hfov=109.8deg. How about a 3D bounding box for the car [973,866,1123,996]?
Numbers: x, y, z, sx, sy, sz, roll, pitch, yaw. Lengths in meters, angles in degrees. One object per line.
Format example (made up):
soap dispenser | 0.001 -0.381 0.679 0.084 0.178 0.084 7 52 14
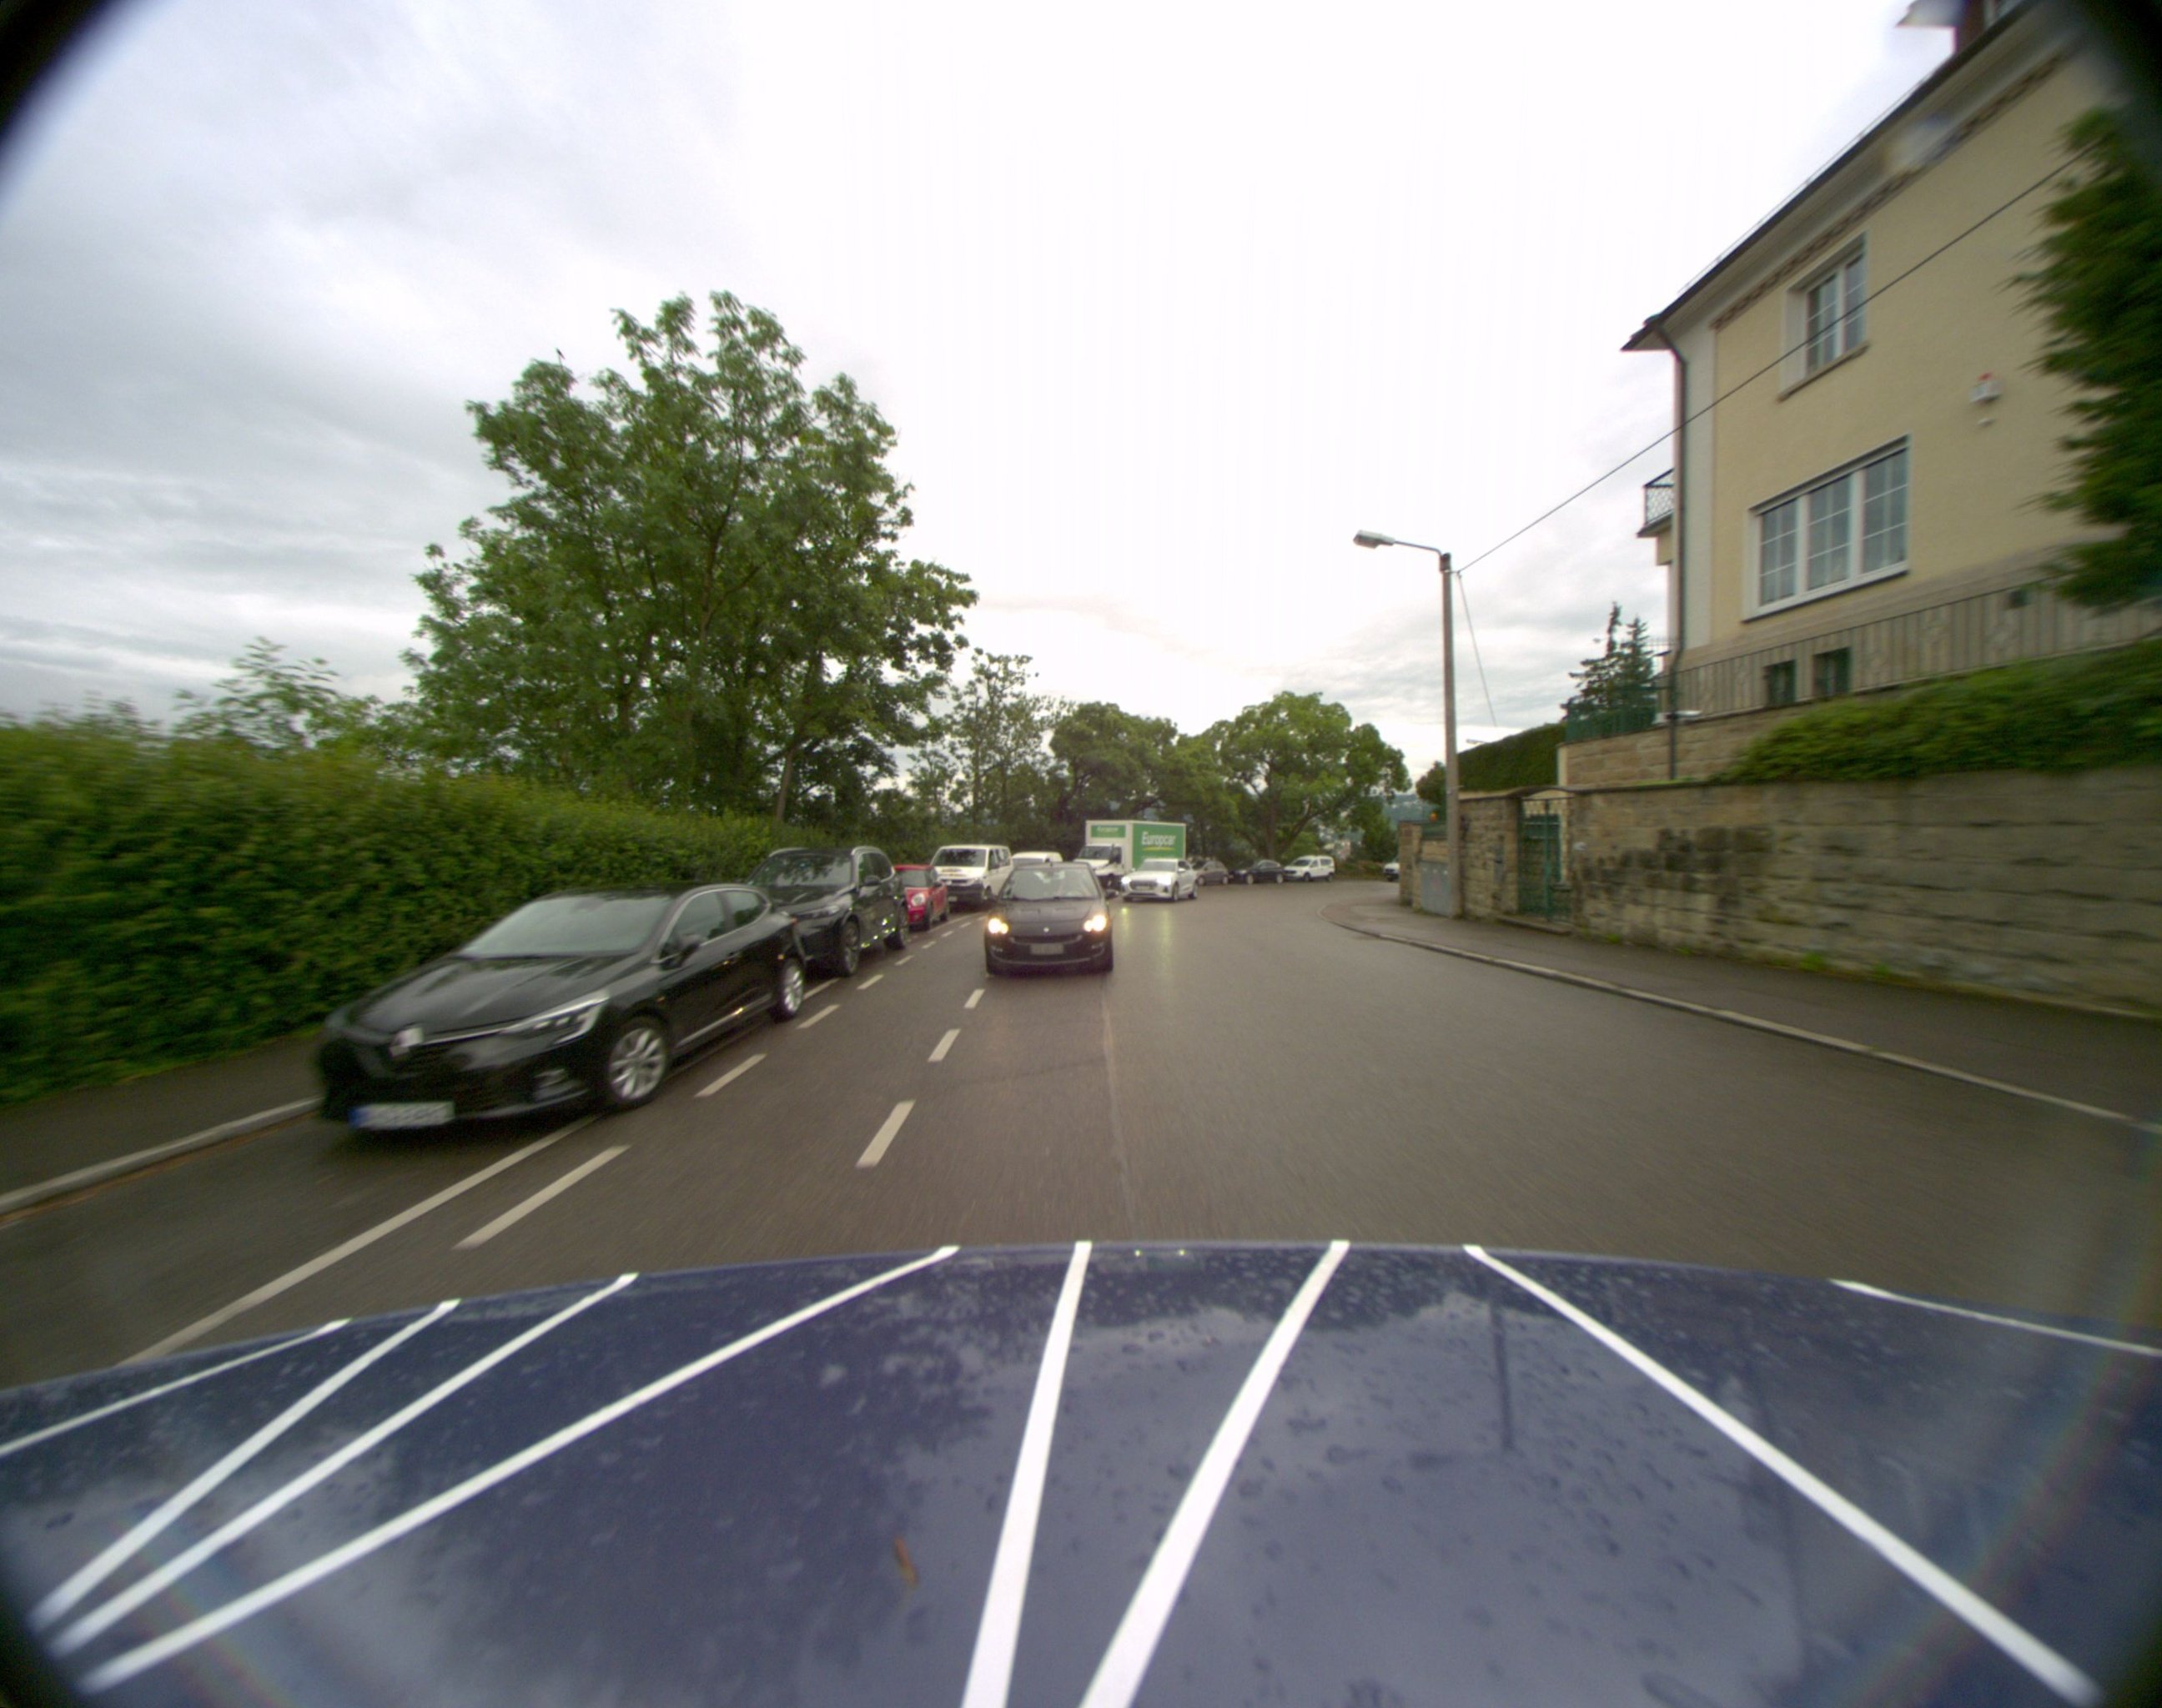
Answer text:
car | -0.439 0.964 11.364 1.784 1.477 4.405 1 0 -1

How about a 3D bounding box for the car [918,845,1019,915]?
car | -3.329 0.717 23.523 1.863 1.936 4.810 0 0 7

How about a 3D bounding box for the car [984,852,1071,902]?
car | -1.955 0.833 29.335 1.862 1.760 4.384 -1 -1 17

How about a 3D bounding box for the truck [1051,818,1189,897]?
truck | 2.245 0.139 38.181 2.774 3.451 8.952 2 1 32

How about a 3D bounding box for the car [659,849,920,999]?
car | -4.059 0.860 11.675 2.032 1.772 4.899 -1 0 1

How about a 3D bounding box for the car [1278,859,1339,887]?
car | 15.705 1.317 52.284 4.433 1.811 1.747 1 1 -39

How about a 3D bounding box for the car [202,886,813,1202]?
car | -3.718 1.090 5.989 1.692 1.414 3.983 -1 1 1

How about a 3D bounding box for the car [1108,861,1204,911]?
car | 2.966 1.131 29.048 2.187 1.698 4.891 1 0 24

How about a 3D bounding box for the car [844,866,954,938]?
car | -4.063 1.010 17.523 1.675 1.405 3.742 -1 0 -1

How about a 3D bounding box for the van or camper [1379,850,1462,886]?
van or camper | 25.669 1.030 57.466 5.893 2.566 2.070 0 1 -19

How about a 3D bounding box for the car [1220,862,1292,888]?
car | 11.276 1.337 48.838 4.905 1.533 1.860 1 0 -40

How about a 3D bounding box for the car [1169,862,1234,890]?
car | 7.132 1.267 44.809 1.734 1.494 4.145 2 1 43
